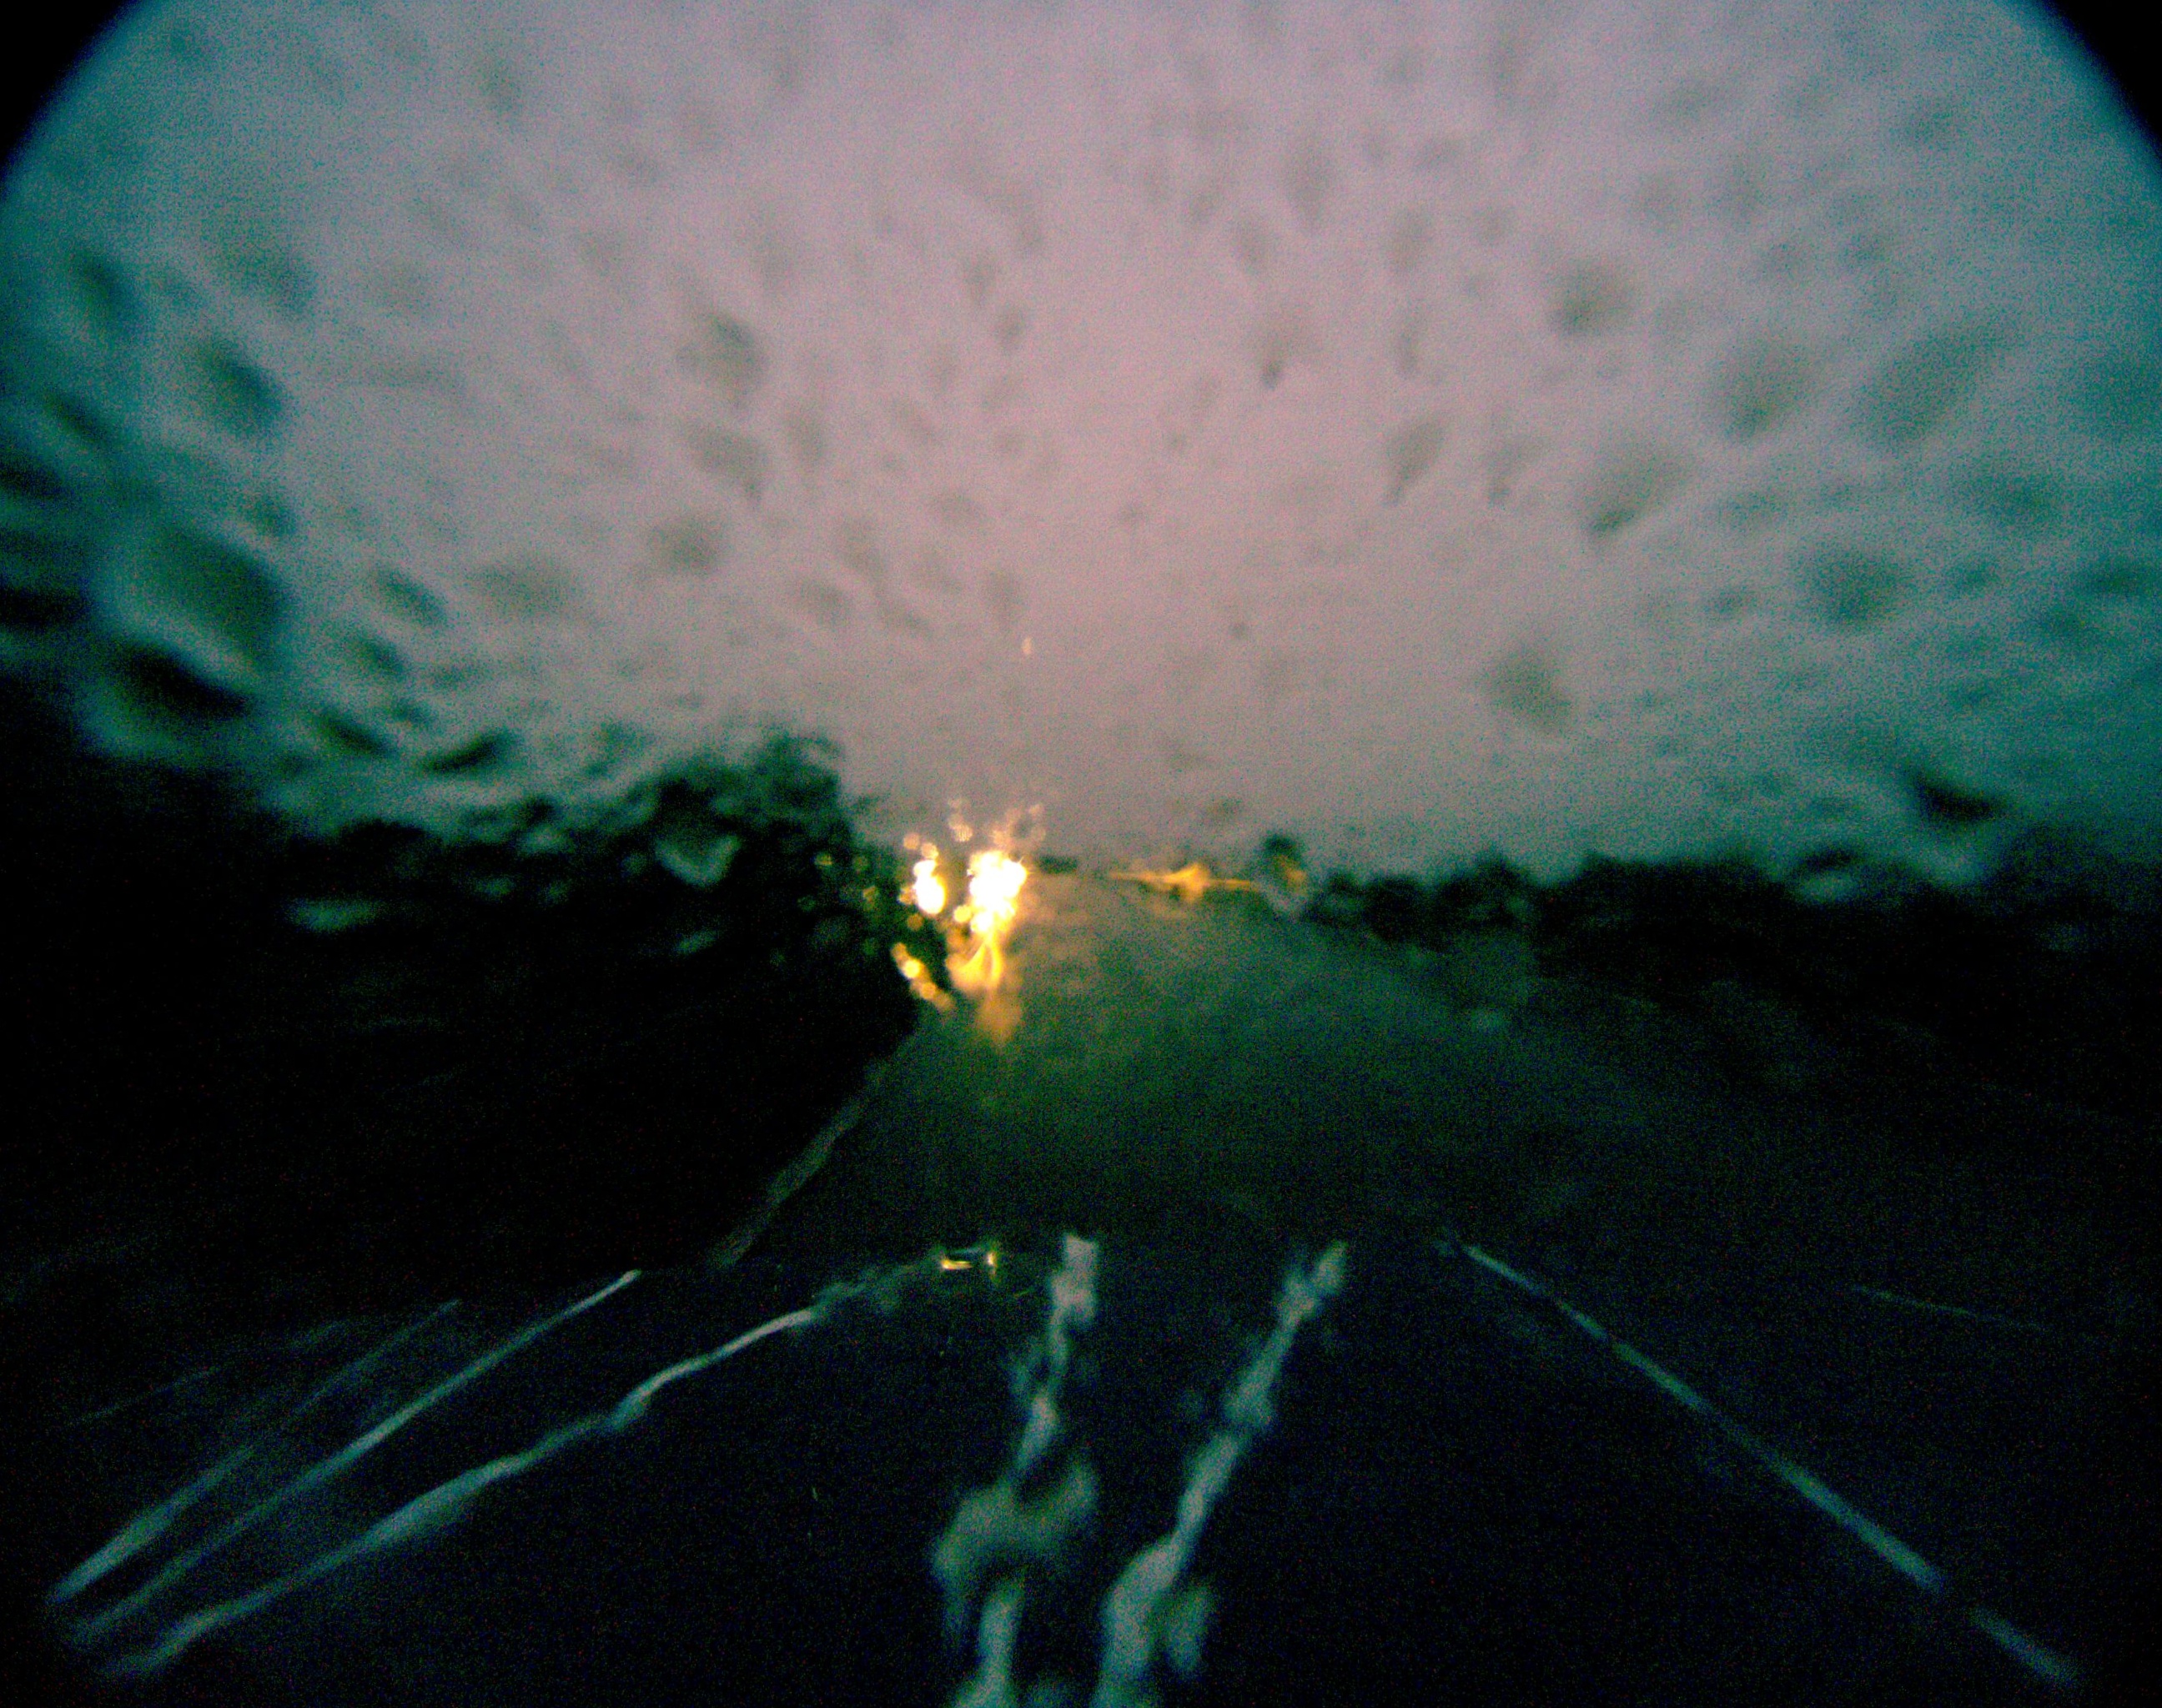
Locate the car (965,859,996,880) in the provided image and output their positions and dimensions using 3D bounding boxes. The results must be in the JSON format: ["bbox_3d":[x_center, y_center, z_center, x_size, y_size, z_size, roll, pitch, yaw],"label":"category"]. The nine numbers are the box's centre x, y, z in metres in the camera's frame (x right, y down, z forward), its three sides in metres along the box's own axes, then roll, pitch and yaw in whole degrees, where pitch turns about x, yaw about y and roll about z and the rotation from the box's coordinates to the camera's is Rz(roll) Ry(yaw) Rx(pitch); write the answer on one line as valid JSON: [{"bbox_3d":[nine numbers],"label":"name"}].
[{"bbox_3d":[-8.101,1.277,60.795,2.104,1.565,4.796,1,-2,-12],"label":"car"}]
